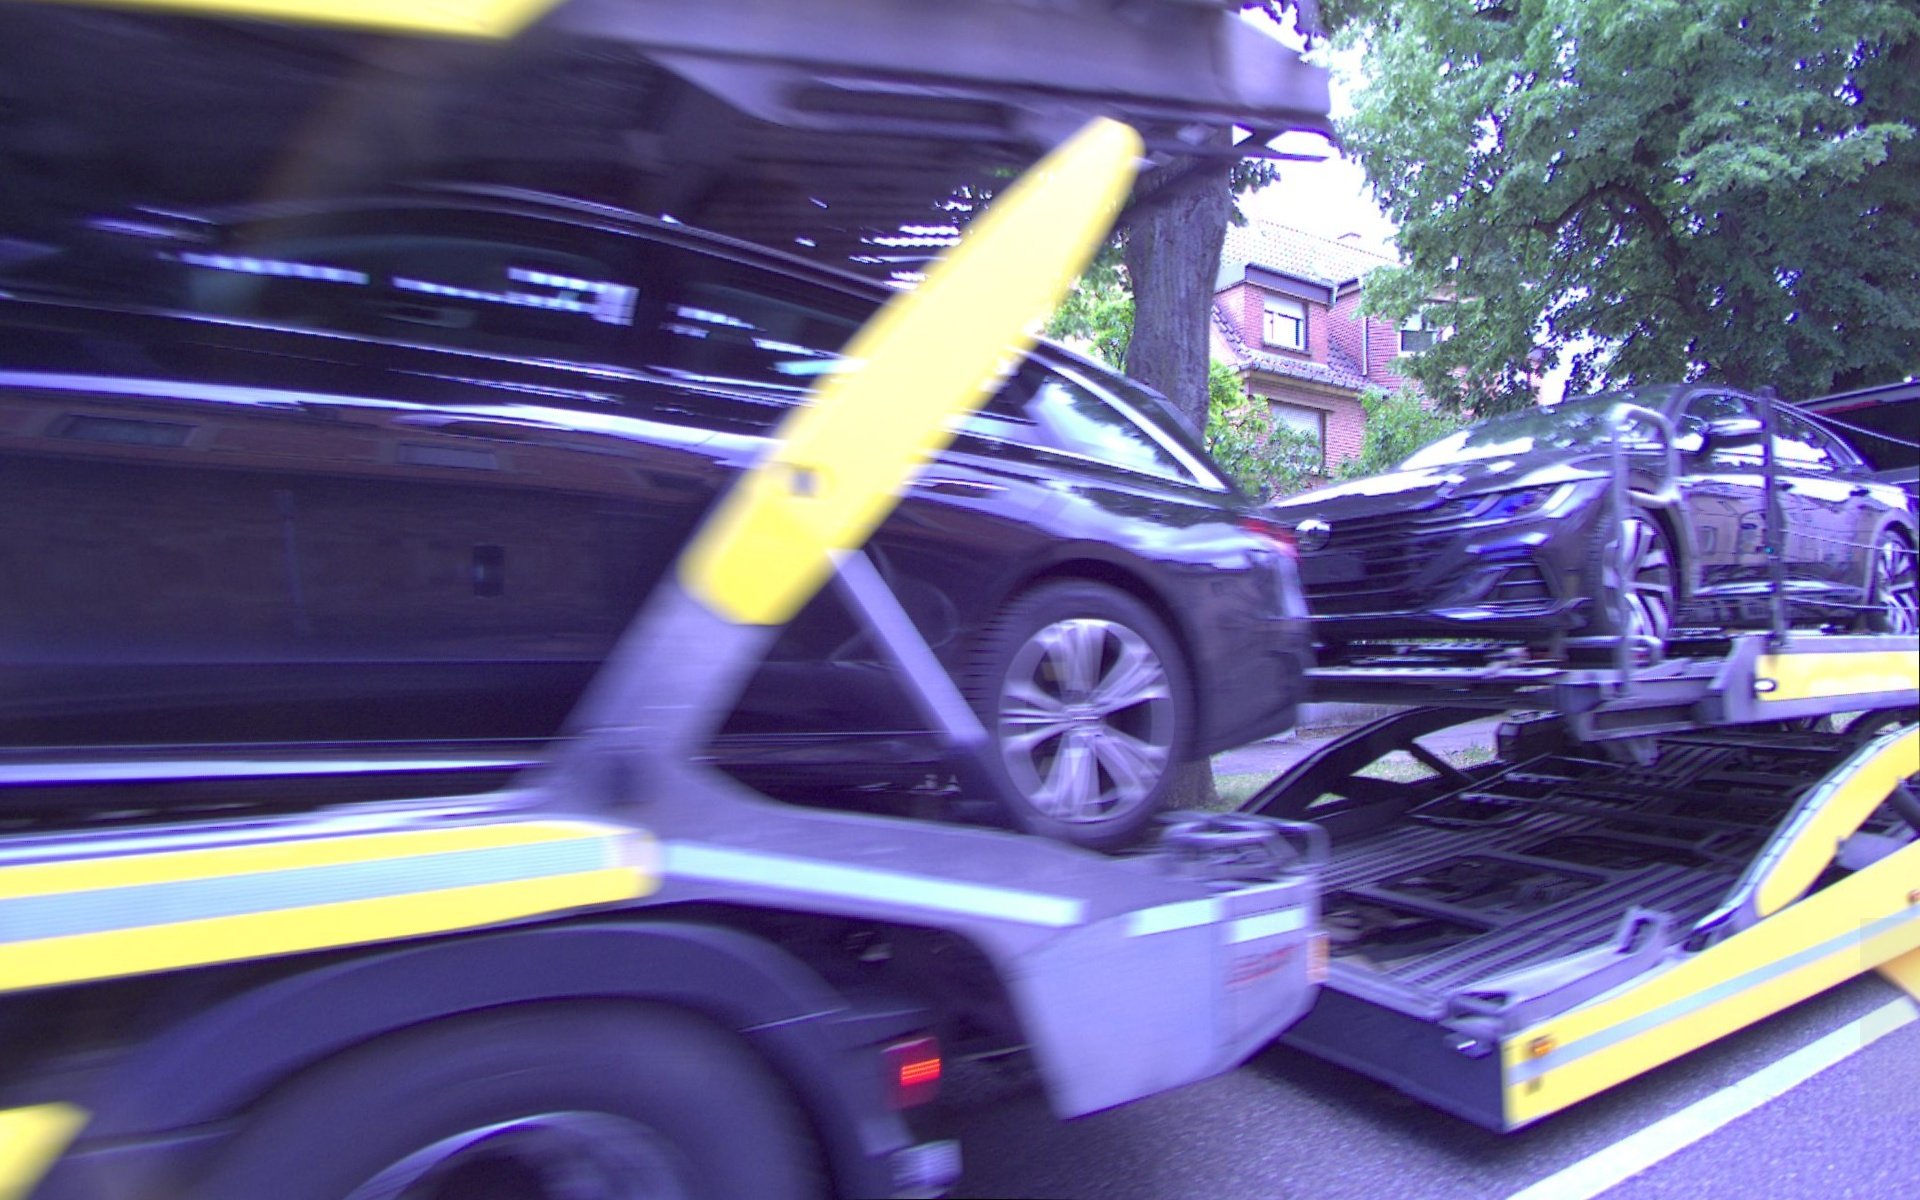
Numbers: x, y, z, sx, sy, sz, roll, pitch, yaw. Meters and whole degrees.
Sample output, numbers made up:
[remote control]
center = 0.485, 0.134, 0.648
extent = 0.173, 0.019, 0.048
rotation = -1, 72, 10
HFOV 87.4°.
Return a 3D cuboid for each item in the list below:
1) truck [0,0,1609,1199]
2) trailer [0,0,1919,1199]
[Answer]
[truck]
center = -2.105, -0.426, 2.175
extent = 7.580, 3.832, 2.830
rotation = 2, -1, -31
[trailer]
center = 4.258, -0.245, 5.974
extent = 14.226, 3.858, 2.844
rotation = 2, -1, -31
